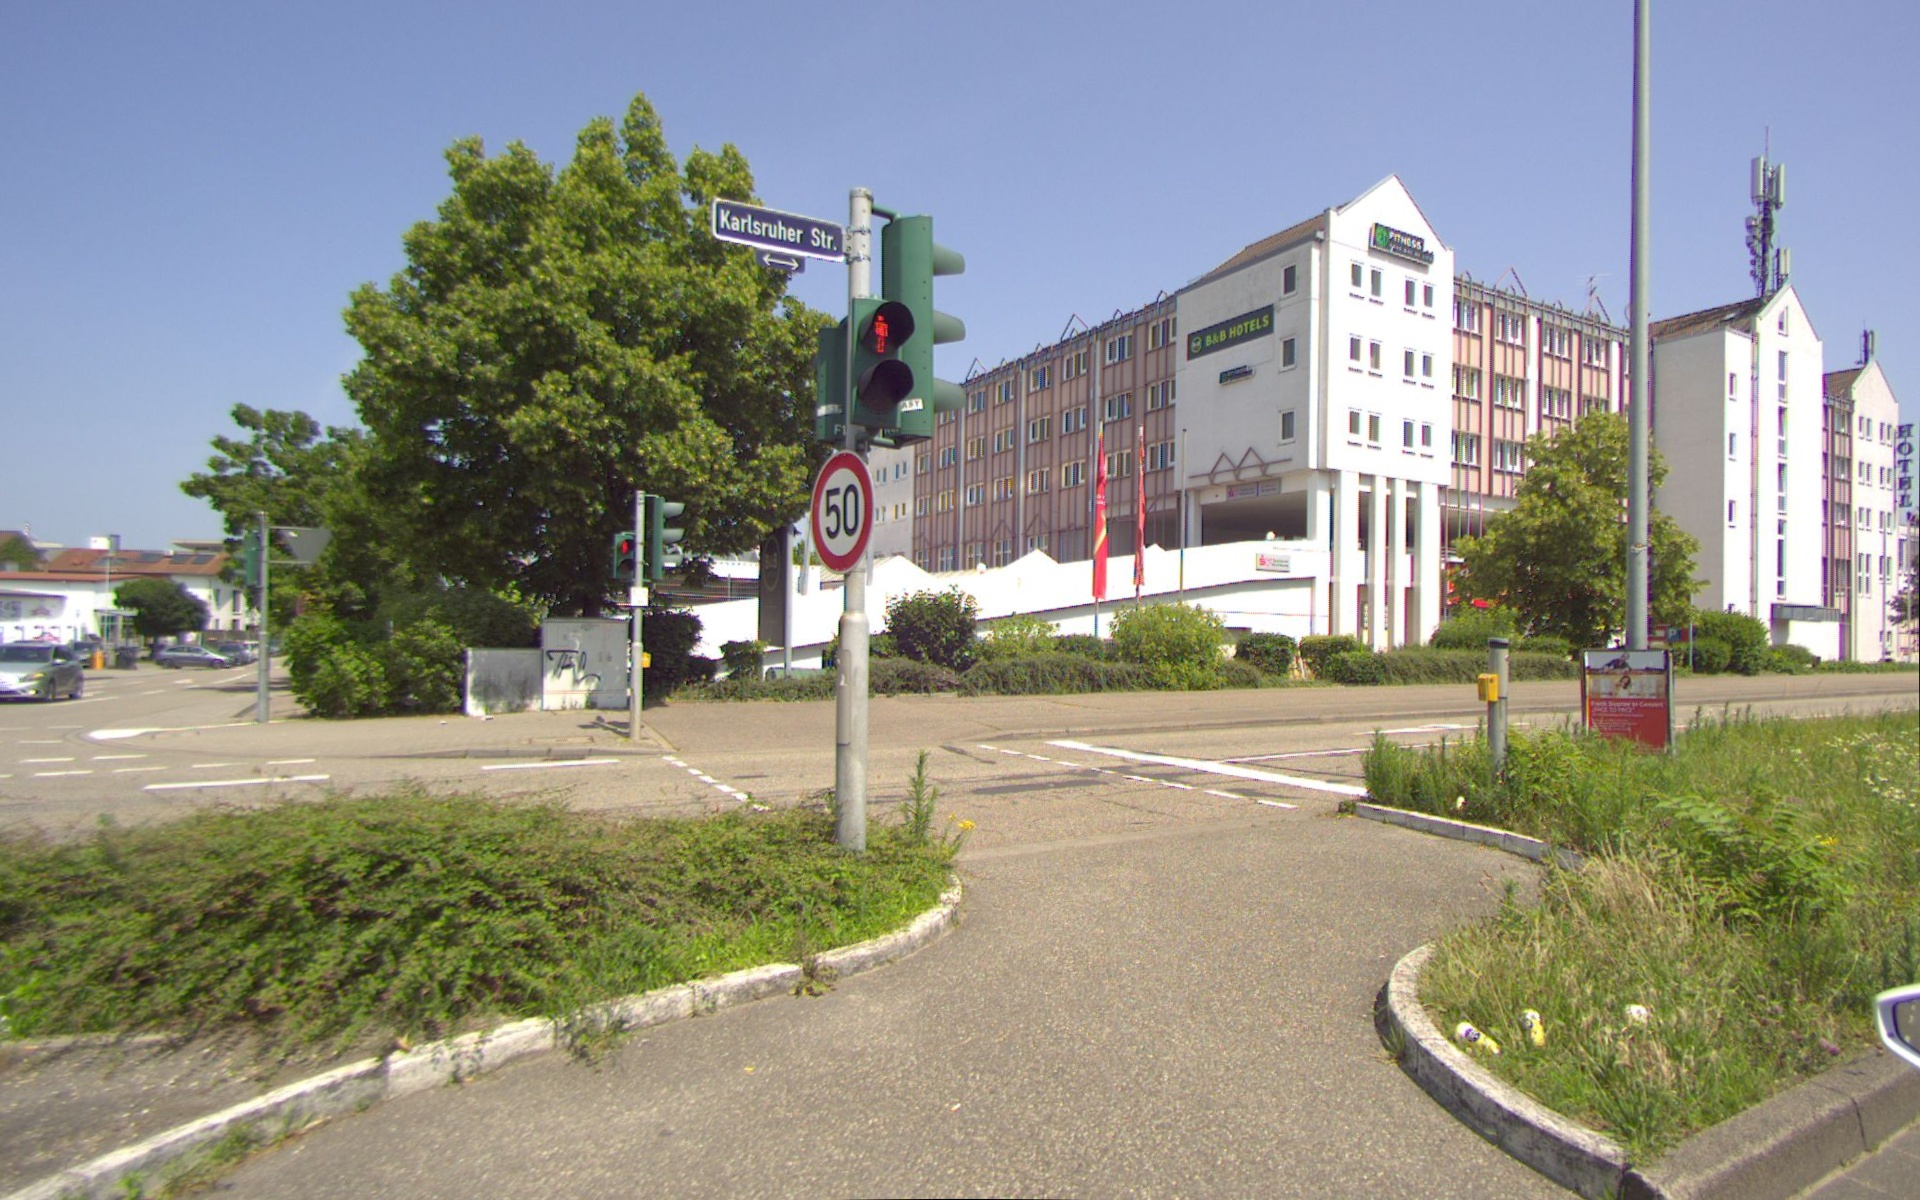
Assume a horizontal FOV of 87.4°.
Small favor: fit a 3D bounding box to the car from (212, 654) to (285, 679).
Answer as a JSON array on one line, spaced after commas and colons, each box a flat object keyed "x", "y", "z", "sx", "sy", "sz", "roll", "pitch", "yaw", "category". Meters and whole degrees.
[{"x": -51.502, "y": 4.798, "z": 72.781, "sx": 3.943, "sy": 1.728, "sz": 1.989, "roll": 1, "pitch": -2, "yaw": -23, "category": "car"}]

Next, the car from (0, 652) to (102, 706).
[{"x": -24.602, "y": 2.042, "z": 26.549, "sx": 1.843, "sy": 1.249, "sz": 3.977, "roll": 1, "pitch": -2, "yaw": -24, "category": "car"}]

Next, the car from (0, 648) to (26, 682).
[{"x": -44.556, "y": 2.892, "z": 44.917, "sx": 3.689, "sy": 1.487, "sz": 1.748, "roll": 1, "pitch": -2, "yaw": -26, "category": "car"}]

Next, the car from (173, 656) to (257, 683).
[{"x": -48.778, "y": 4.539, "z": 65.855, "sx": 3.940, "sy": 1.639, "sz": 1.991, "roll": 1, "pitch": -2, "yaw": -21, "category": "car"}]

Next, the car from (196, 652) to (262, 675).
[{"x": -56.793, "y": 4.912, "z": 78.118, "sx": 3.953, "sy": 1.706, "sz": 1.984, "roll": 2, "pitch": -2, "yaw": -30, "category": "car"}]

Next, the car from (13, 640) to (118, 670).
[{"x": -46.565, "y": 2.861, "z": 52.383, "sx": 3.689, "sy": 1.487, "sz": 1.748, "roll": 1, "pitch": -2, "yaw": -26, "category": "car"}]
